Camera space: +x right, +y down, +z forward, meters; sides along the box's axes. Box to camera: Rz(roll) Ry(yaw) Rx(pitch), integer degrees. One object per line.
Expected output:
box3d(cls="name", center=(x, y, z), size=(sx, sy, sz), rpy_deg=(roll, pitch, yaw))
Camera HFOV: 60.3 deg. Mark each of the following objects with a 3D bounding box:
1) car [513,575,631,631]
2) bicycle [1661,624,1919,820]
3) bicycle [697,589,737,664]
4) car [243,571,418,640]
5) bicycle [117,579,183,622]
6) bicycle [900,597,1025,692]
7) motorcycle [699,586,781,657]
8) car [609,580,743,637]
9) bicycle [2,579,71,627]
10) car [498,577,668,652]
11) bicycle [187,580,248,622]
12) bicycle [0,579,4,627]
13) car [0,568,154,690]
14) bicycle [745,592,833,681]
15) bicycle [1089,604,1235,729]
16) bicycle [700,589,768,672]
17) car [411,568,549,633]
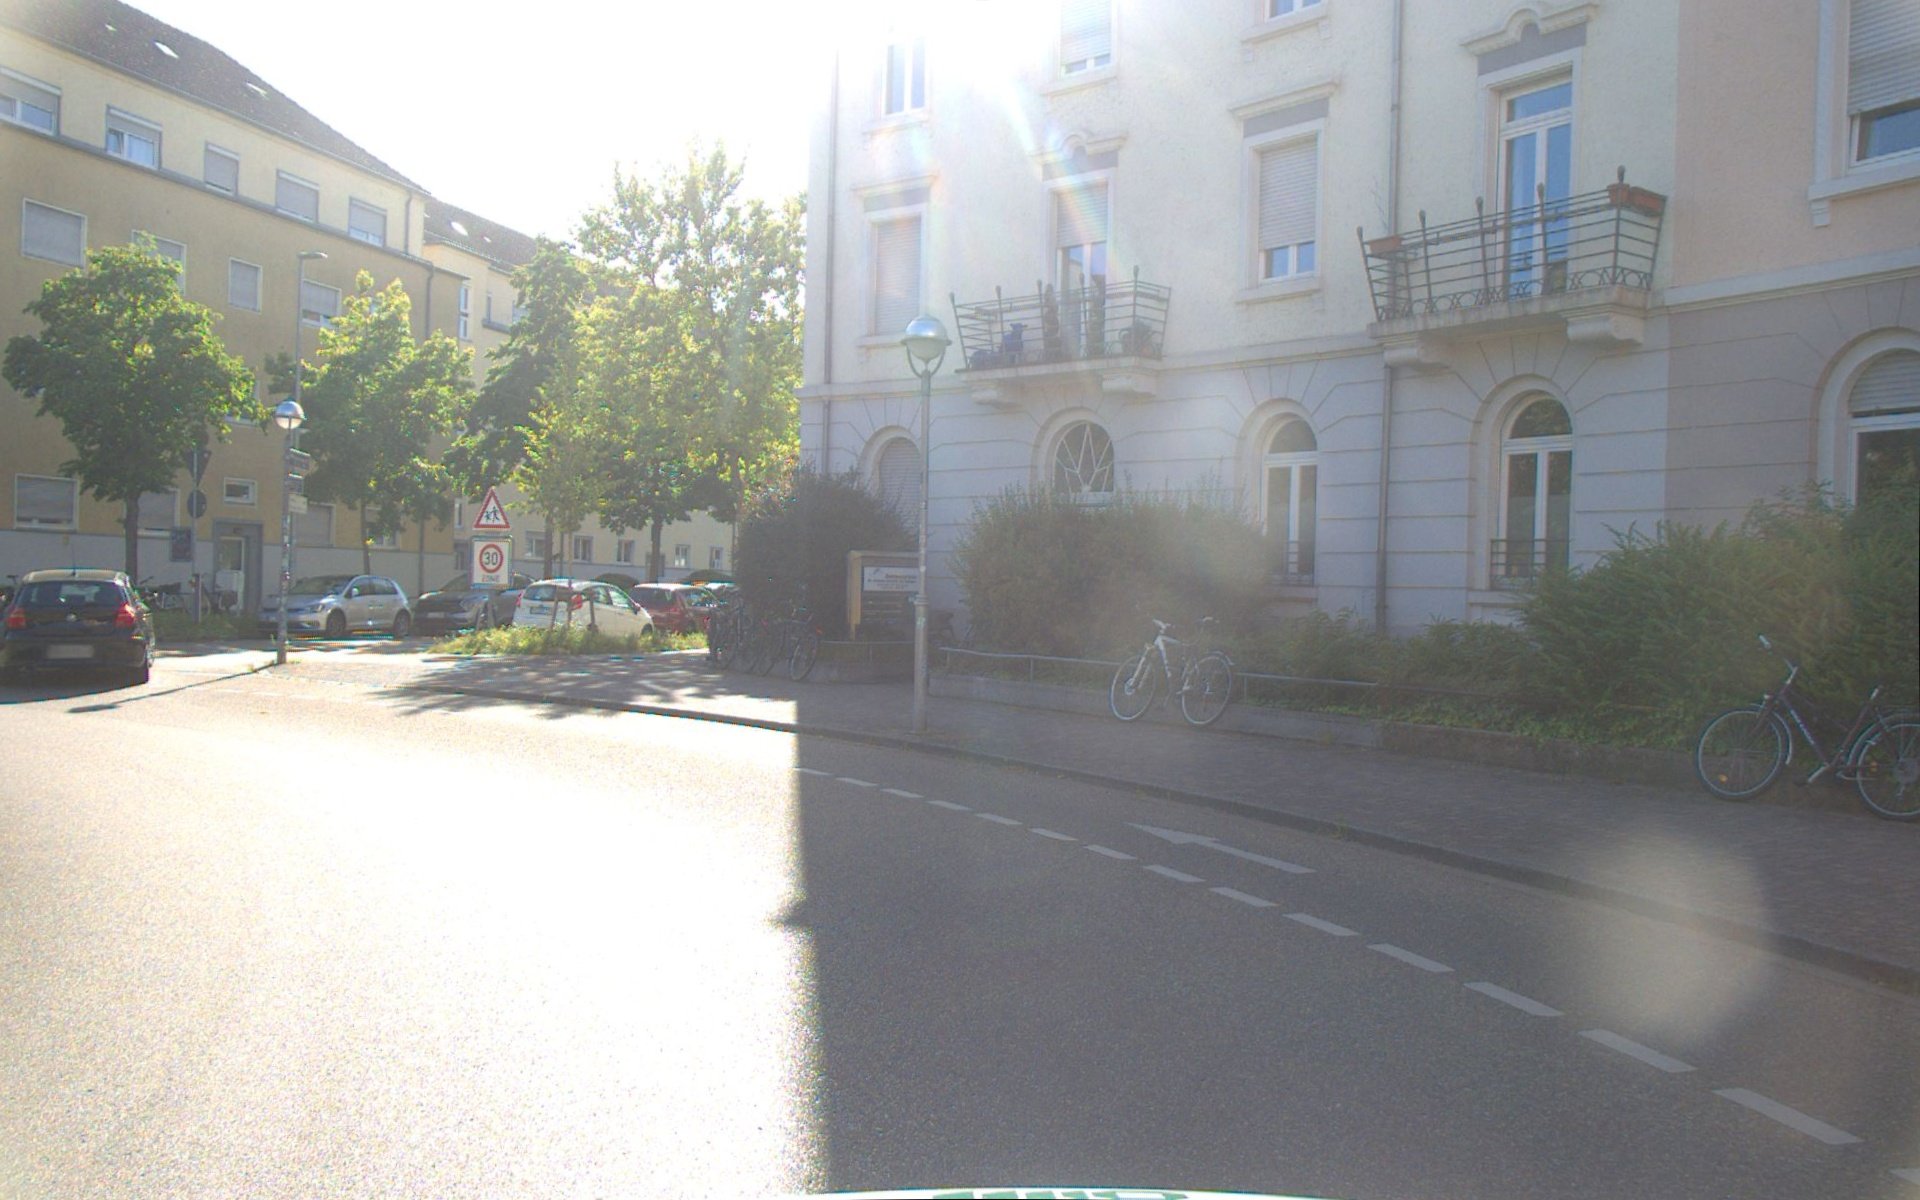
box3d(cls="car", center=(-11.207, 0.079, 48.053), size=(1.756, 1.537, 4.003), rpy_deg=(1, 0, 12))
box3d(cls="bicycle", center=(5.413, 0.735, 10.662), size=(0.496, 1.107, 1.667), rpy_deg=(-1, 1, -33))
box3d(cls="bicycle", center=(-3.864, 0.397, 26.359), size=(0.489, 1.127, 1.949), rpy_deg=(1, 1, -4))
box3d(cls="car", center=(-14.118, 0.127, 37.322), size=(1.759, 1.436, 4.003), rpy_deg=(1, 0, 12))
box3d(cls="bicycle", center=(-19.950, 0.017, 40.773), size=(0.489, 1.044, 1.448), rpy_deg=(1, 0, 27))
box3d(cls="bicycle", center=(0.050, 0.533, 20.625), size=(1.668, 1.127, 0.492), rpy_deg=(0, 1, -42))
box3d(cls="motorcycle", center=(-3.873, 0.366, 29.268), size=(0.867, 1.212, 1.491), rpy_deg=(-1, 0, 18))
box3d(cls="car", center=(-6.662, 0.188, 39.170), size=(1.756, 1.277, 3.722), rpy_deg=(1, 0, 14))
box3d(cls="bicycle", center=(-20.909, 0.060, 37.473), size=(0.488, 1.044, 1.451), rpy_deg=(1, 0, 14))
box3d(cls="car", center=(-7.841, 0.296, 34.798), size=(1.756, 1.437, 4.003), rpy_deg=(1, 0, 16))
box3d(cls="bicycle", center=(-19.239, 0.025, 42.878), size=(0.489, 1.044, 1.448), rpy_deg=(1, 0, 27))
box3d(cls="bicycle", center=(-21.551, 0.065, 35.783), size=(1.438, 1.044, 0.492), rpy_deg=(1, 0, -43))
box3d(cls="car", center=(-11.738, 0.314, 21.962), size=(1.842, 1.443, 3.967), rpy_deg=(0, 1, -26))
box3d(cls="bicycle", center=(-2.345, 0.475, 22.534), size=(0.493, 1.127, 1.781), rpy_deg=(0, 1, -31))
box3d(cls="bicycle", center=(1.939, 0.614, 16.070), size=(0.496, 1.107, 1.669), rpy_deg=(-1, 1, -31))
box3d(cls="bicycle", center=(-3.317, 0.425, 24.172), size=(0.492, 1.127, 1.786), rpy_deg=(0, 1, -24))
box3d(cls="car", center=(-12.472, 0.027, 43.235), size=(1.756, 1.603, 4.003), rpy_deg=(1, 0, 13))
